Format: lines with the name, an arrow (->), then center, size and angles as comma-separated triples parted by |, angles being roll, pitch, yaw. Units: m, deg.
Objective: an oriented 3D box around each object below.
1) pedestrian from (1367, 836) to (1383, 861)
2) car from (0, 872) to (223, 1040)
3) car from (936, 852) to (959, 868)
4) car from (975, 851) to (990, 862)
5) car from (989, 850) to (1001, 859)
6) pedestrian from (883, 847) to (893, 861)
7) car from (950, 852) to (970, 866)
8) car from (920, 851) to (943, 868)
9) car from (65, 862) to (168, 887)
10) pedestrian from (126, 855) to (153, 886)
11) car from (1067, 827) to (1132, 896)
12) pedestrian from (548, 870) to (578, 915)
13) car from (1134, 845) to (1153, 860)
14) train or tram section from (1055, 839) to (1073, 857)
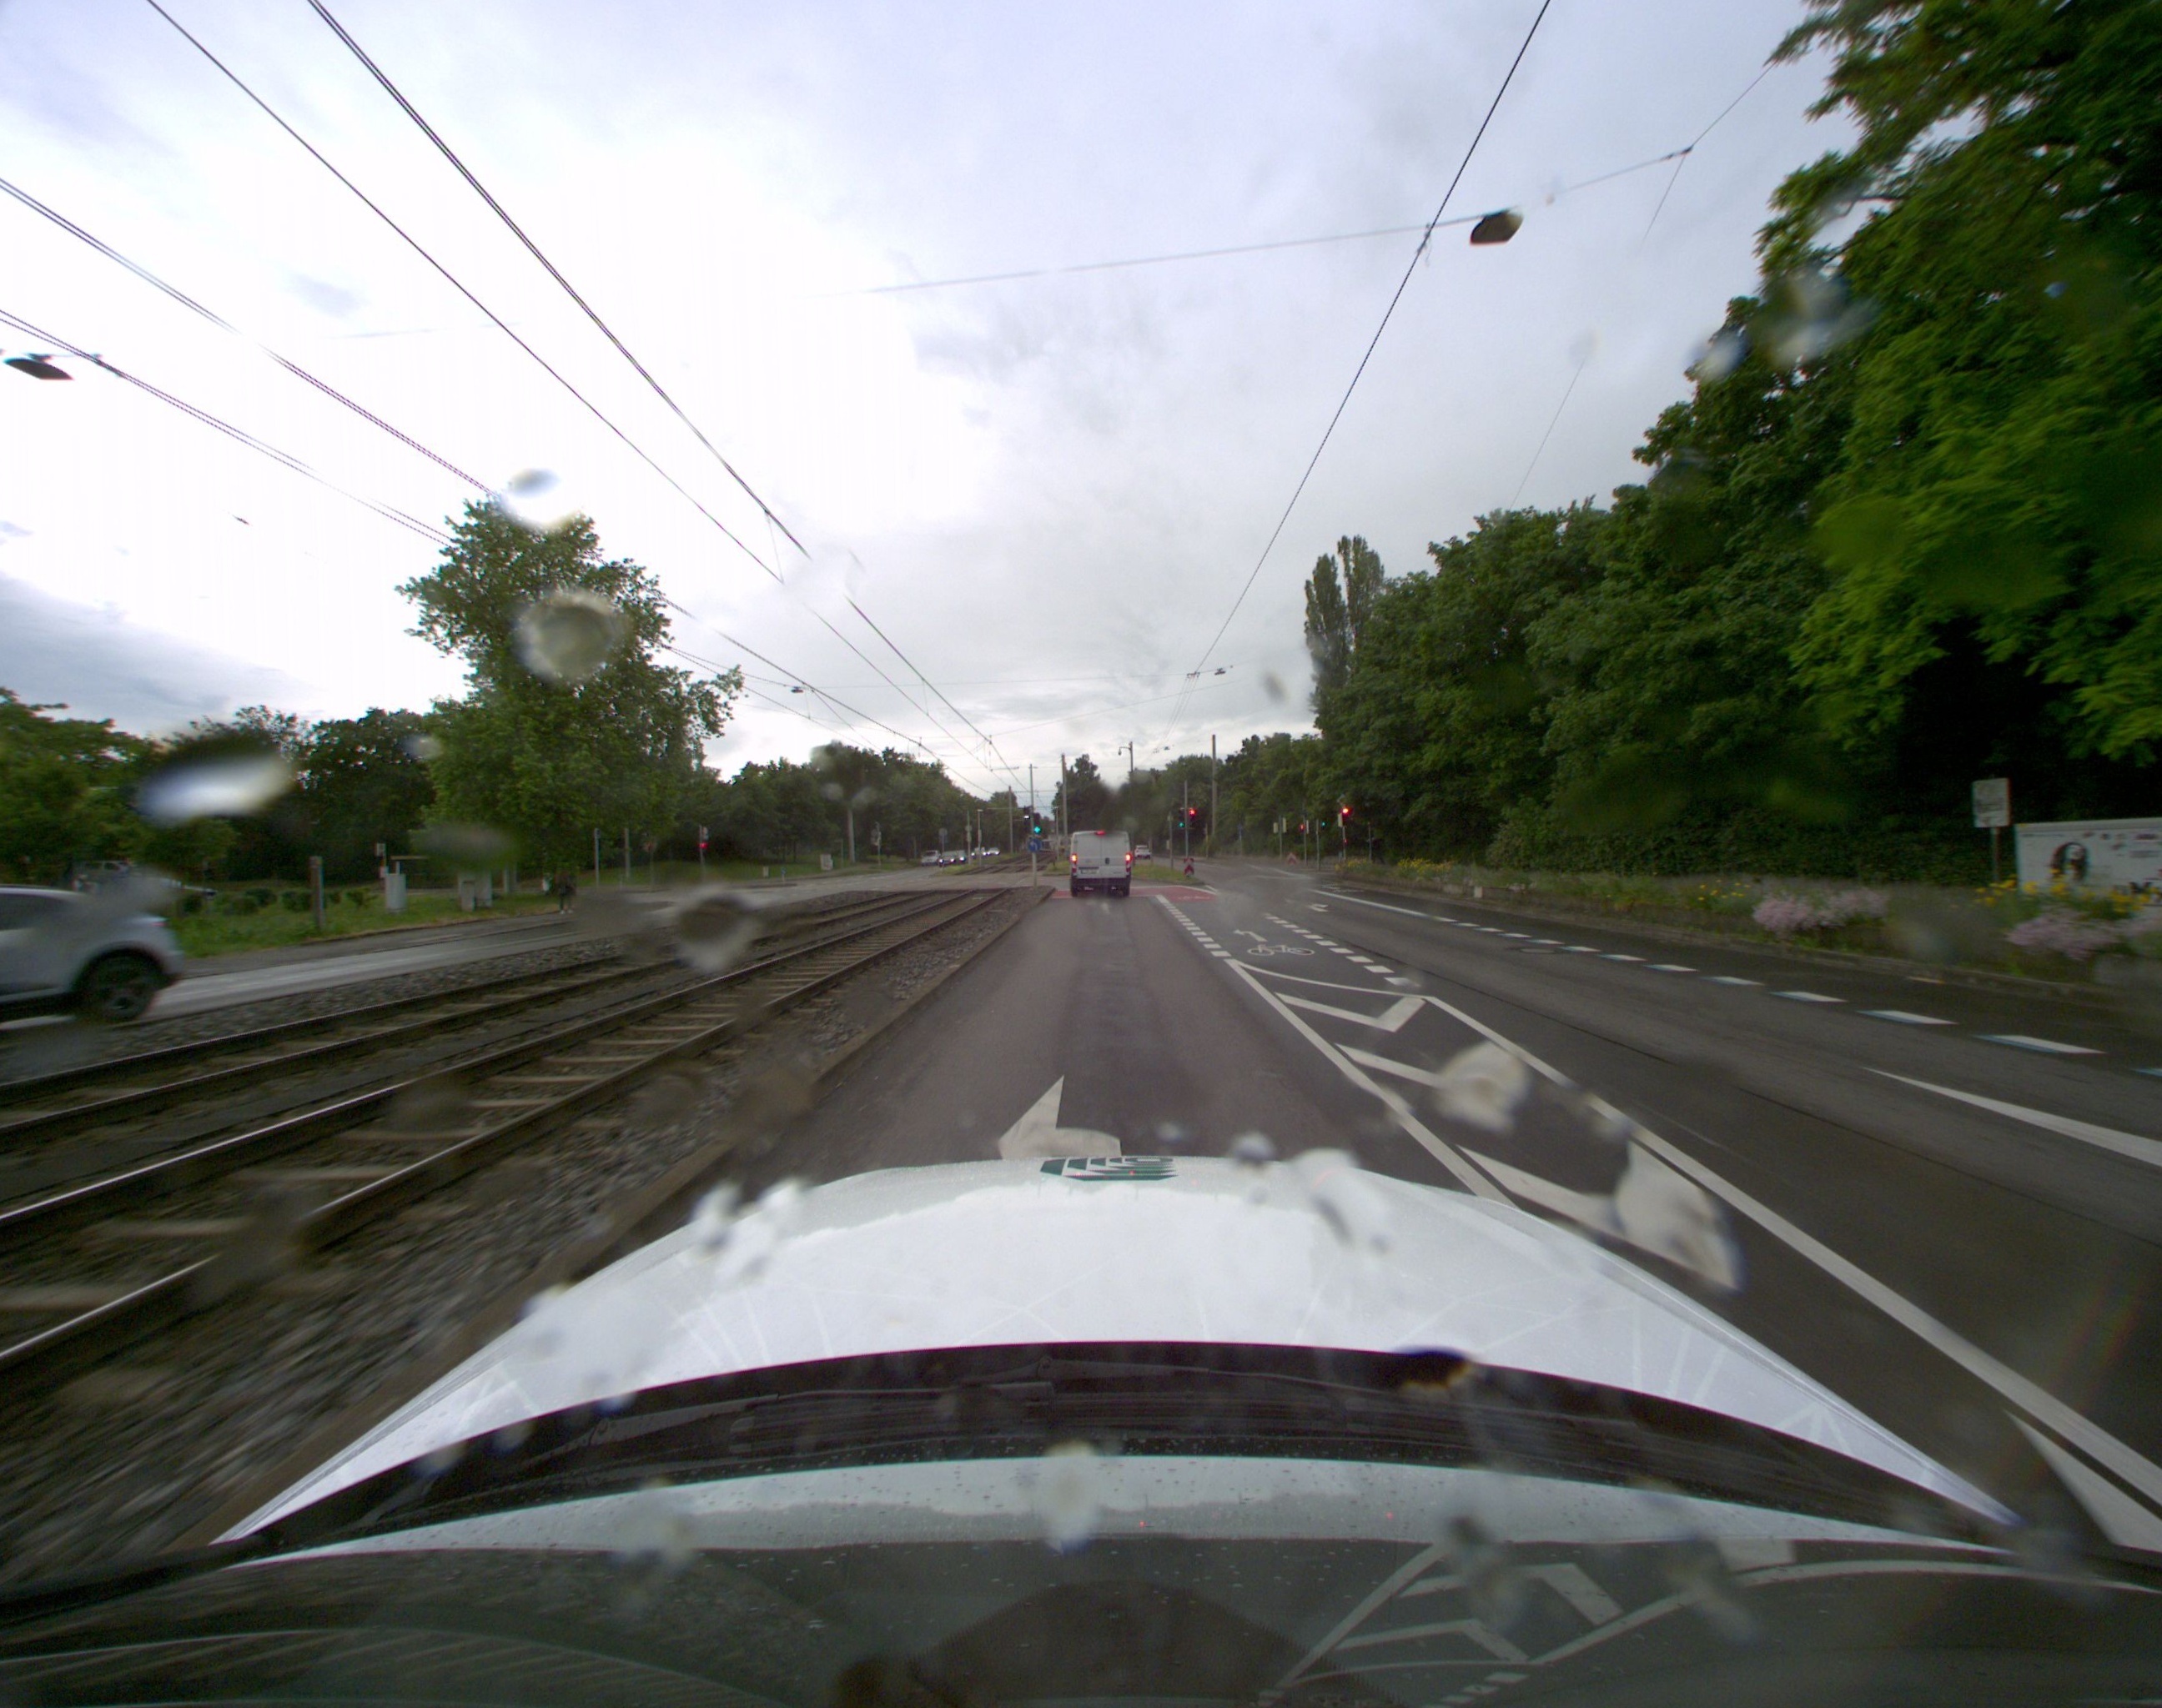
pedestrian -> 19.353, -0.355, 53.624 | 0.804, 1.607, 0.683 | 0, -2, 2
car -> -11.909, 1.104, 7.906 | 1.987, 1.649, 4.760 | -4, 0, 1
car -> -13.082, 0.567, 80.012 | 1.596, 1.401, 3.790 | 0, 1, -1
car -> -13.323, 0.292, 110.207 | 1.596, 1.401, 3.790 | 0, 1, -1
car -> -14.187, 0.110, 134.145 | 1.596, 1.401, 3.790 | 0, 1, -1
pedestrian -> -22.654, -0.002, 95.602 | 1.012, 1.600, 1.038 | -2, 0, -6
car -> -12.885, 0.547, 86.771 | 1.596, 1.401, 3.790 | 0, 1, -1
car -> -16.235, 0.572, 88.682 | 1.714, 1.553, 3.861 | -4, 1, -1
car -> -74.193, 1.572, 62.708 | 5.121, 1.805, 1.996 | 0, -2, -5
pedestrian -> -49.616, 0.887, 42.898 | 0.672, 1.602, 0.608 | 0, -2, 7
car -> 0.573, 0.221, 29.596 | 2.140, 2.283, 5.060 | -1, 1, -1
pedestrian -> -18.114, 1.341, 28.496 | 0.589, 1.532, 0.668 | 0, -2, 0
car -> 6.559, -0.188, 85.800 | 1.697, 1.521, 3.792 | 0, 1, 0
train or tram section -> -4.171, -1.355, 202.068 | 4.046, 3.895, 15.037 | 0, -2, 1
